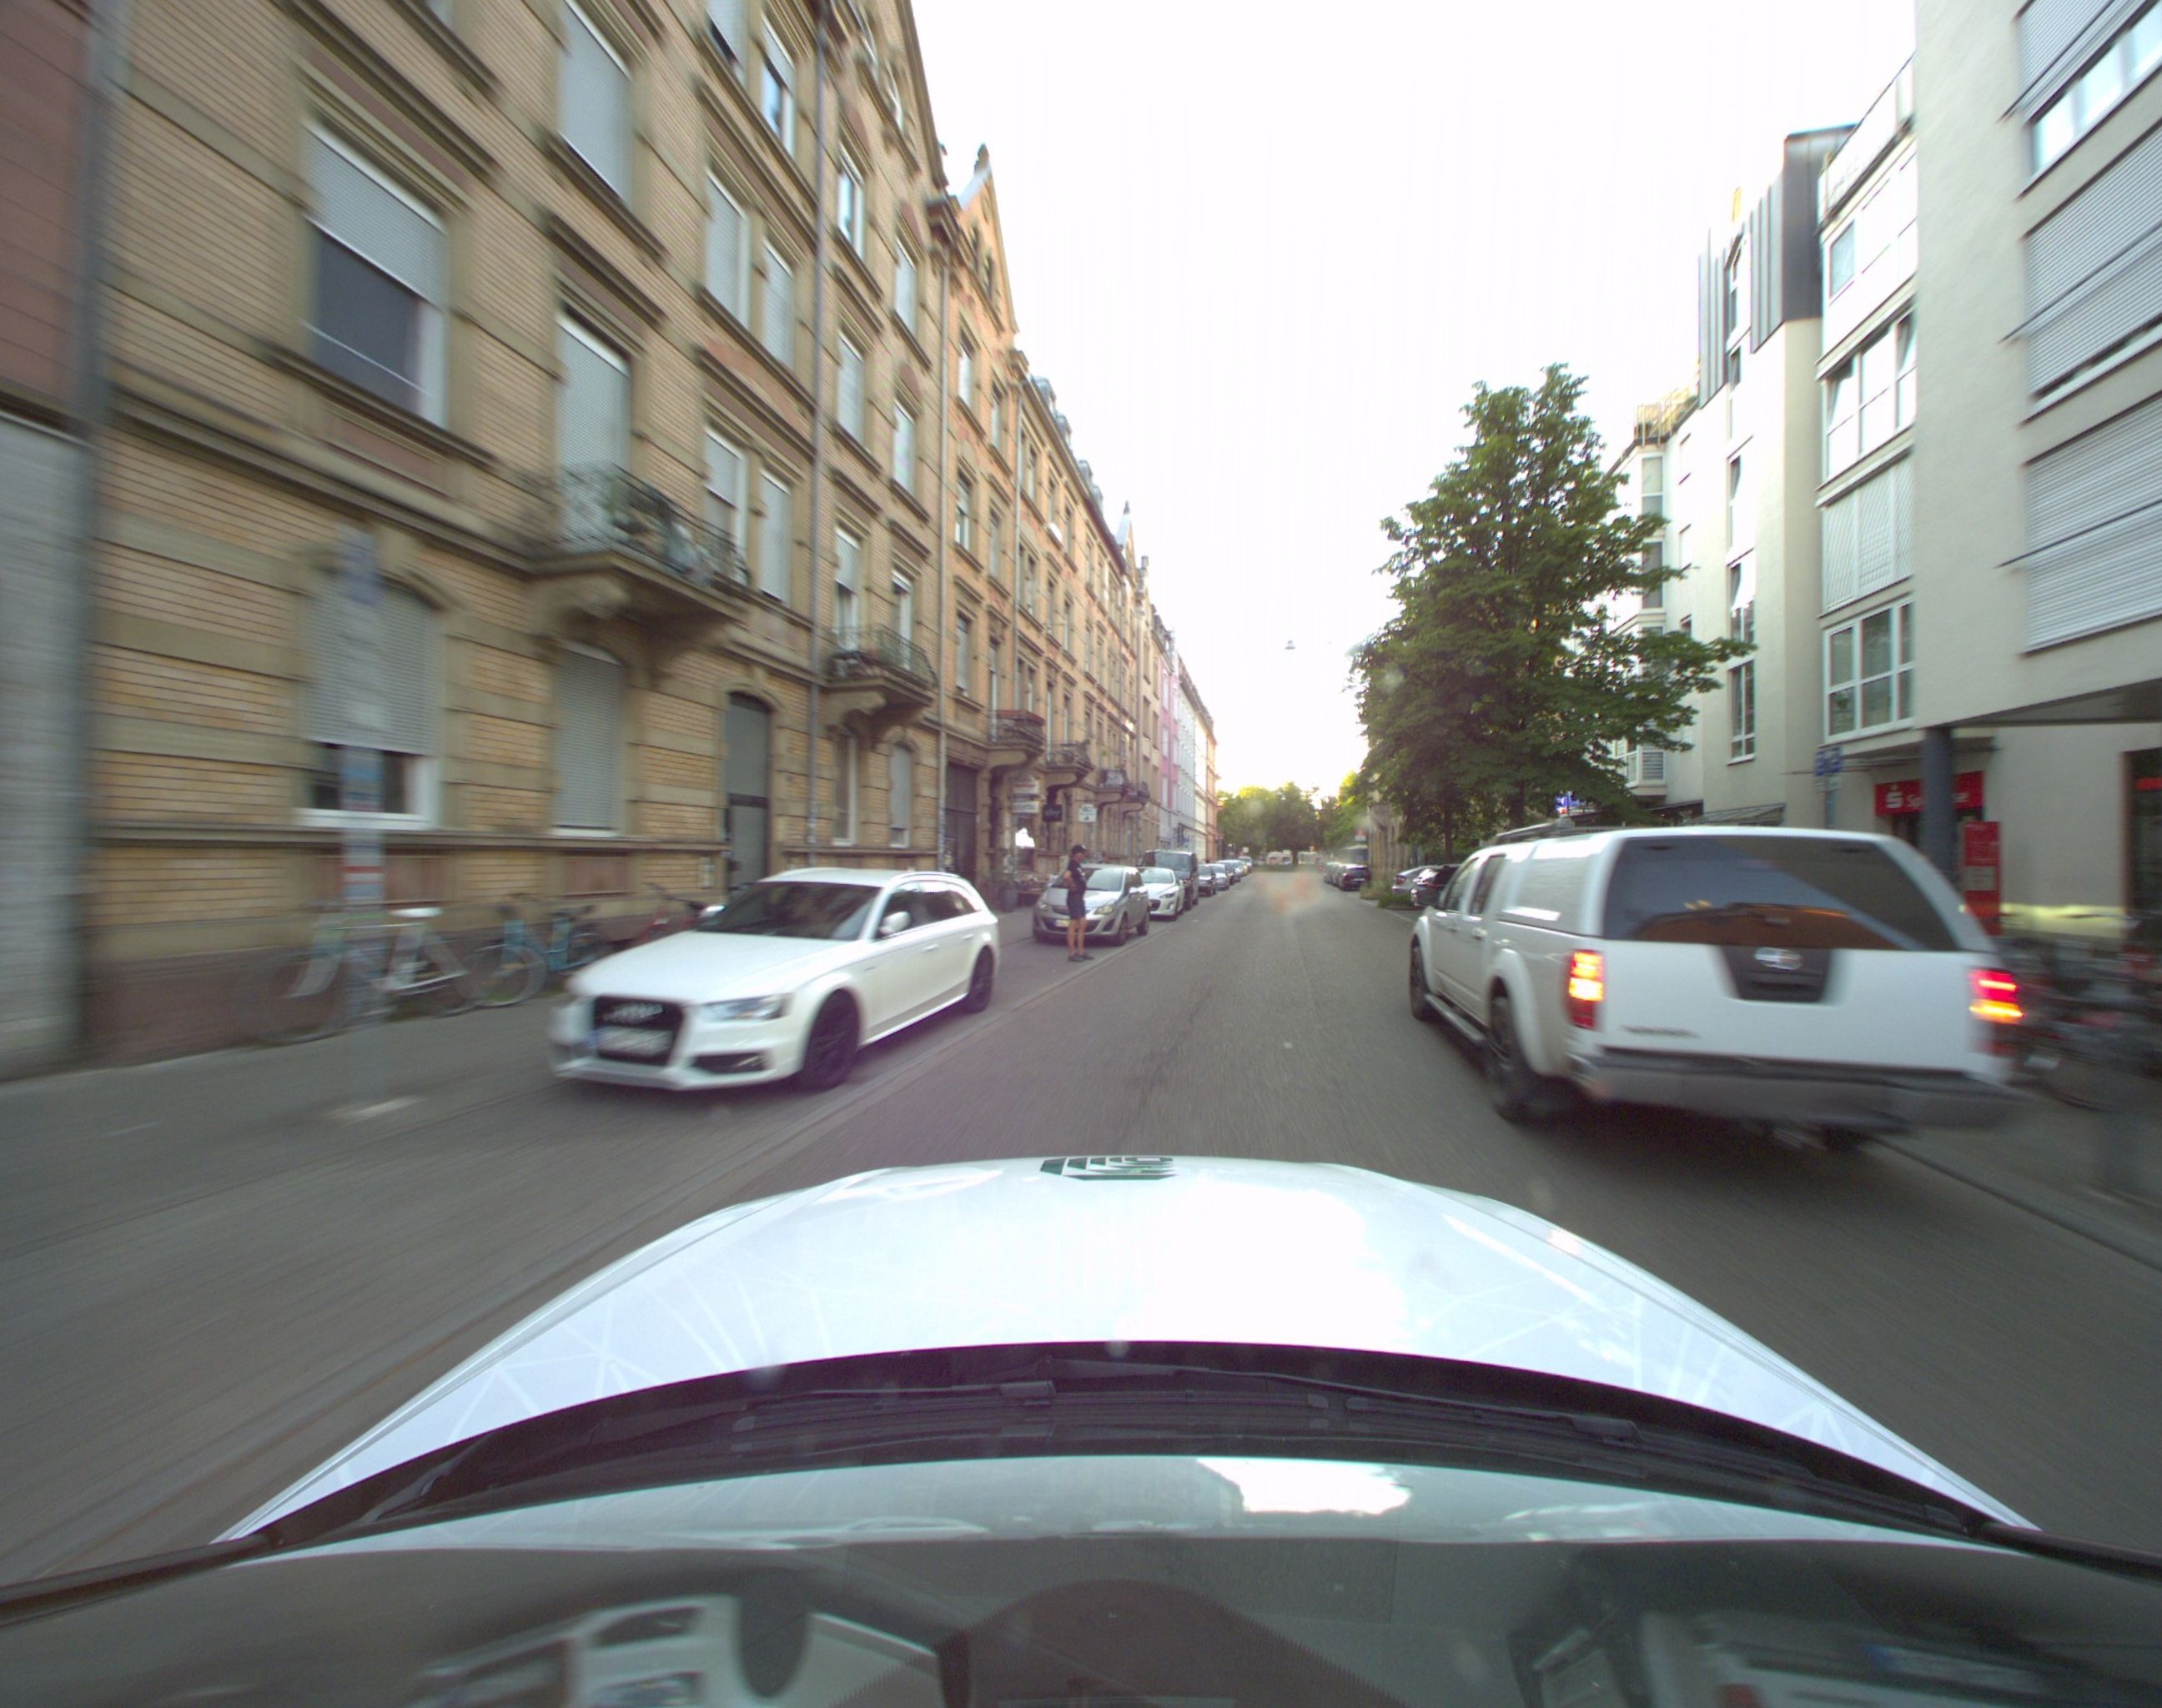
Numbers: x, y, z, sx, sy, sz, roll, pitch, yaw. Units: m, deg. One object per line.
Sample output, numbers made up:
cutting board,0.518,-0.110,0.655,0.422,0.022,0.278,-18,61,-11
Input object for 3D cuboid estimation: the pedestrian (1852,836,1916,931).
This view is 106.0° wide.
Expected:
pedestrian,15.300,0.559,15.527,0.623,1.753,0.588,1,-2,2

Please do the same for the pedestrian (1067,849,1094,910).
pedestrian,-0.002,0.755,24.780,0.576,1.771,1.000,3,1,10

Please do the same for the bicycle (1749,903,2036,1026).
bicycle,7.400,1.018,7.518,1.759,1.022,0.567,-4,-3,16

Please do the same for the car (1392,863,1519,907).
car,13.899,1.138,30.479,4.055,1.453,1.890,-2,-1,16

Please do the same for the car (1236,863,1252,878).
car,17.932,1.818,89.582,1.687,1.552,4.034,2,0,11

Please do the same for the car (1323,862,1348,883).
car,19.626,1.406,62.889,1.663,1.501,3.916,-3,-1,15

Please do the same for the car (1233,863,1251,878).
car,16.567,1.644,83.791,1.687,1.426,4.034,2,0,11

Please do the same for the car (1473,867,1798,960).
car,9.566,1.016,14.397,4.398,1.455,1.783,-2,-1,7

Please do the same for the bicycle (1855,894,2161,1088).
bicycle,6.761,0.919,5.619,1.854,1.182,0.746,-4,-3,18

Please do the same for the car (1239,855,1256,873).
car,19.909,1.212,97.531,1.800,1.977,4.197,2,0,10

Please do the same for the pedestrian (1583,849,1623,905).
pedestrian,16.498,0.726,25.763,0.722,1.716,0.967,-2,-2,14

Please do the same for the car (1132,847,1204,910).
car,3.154,0.798,28.639,1.980,1.924,4.966,2,0,11

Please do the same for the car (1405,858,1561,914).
car,11.838,0.931,24.216,3.771,1.453,1.740,-2,-1,8

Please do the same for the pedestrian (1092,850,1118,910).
pedestrian,0.743,0.774,24.970,0.601,1.772,0.779,3,1,10

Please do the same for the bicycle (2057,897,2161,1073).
bicycle,7.960,0.854,5.486,1.711,1.118,0.655,-2,-2,10

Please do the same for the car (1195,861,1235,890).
car,7.718,1.216,46.615,1.821,1.458,4.222,3,0,14

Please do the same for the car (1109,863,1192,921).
car,2.114,1.026,23.552,1.772,1.423,4.500,2,0,12

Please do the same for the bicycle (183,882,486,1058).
bicycle,-5.721,0.817,6.401,0.512,1.132,1.737,1,0,13

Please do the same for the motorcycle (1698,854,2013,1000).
motorcycle,8.808,0.827,9.412,2.472,1.549,0.827,-2,-2,16

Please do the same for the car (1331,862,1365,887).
car,17.264,1.307,52.783,1.664,1.456,4.245,-3,-1,13

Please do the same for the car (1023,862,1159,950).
car,0.335,0.923,16.216,1.704,1.457,4.016,2,0,15

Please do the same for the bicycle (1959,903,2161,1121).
bicycle,6.623,0.895,4.783,1.772,1.182,0.738,-4,-3,24

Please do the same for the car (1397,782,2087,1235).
car,3.784,0.668,6.118,1.897,1.853,5.288,0,-1,13

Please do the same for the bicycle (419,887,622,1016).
bicycle,-5.300,0.873,7.832,0.561,1.036,1.630,1,0,13

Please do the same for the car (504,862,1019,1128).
car,-2.094,0.813,6.942,1.746,1.412,4.525,1,0,14

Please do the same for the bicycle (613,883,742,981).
bicycle,-4.830,0.892,9.869,0.589,1.027,1.627,1,0,6

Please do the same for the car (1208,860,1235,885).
car,9.710,1.246,56.074,1.625,1.565,3.794,1,0,13

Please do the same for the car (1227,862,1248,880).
car,14.997,1.615,77.923,1.686,1.621,4.036,2,0,13

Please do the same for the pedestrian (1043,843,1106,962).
pedestrian,-0.085,0.727,12.546,0.549,1.756,1.028,0,-2,25

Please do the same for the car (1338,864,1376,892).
car,15.698,1.321,46.534,1.664,1.429,4.495,-4,-1,14

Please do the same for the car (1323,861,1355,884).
car,18.346,1.296,57.983,1.666,1.456,3.811,-3,-1,10

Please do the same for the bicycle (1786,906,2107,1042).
bicycle,7.237,1.009,6.918,1.706,1.031,0.670,-4,-3,16

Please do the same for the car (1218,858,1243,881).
car,11.414,1.187,62.115,1.833,1.659,4.265,0,-1,11

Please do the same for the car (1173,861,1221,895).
car,5.406,1.088,37.567,1.724,1.418,4.795,2,-1,13

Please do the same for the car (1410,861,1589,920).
car,11.256,0.977,22.181,3.961,1.456,1.834,-1,-1,11
